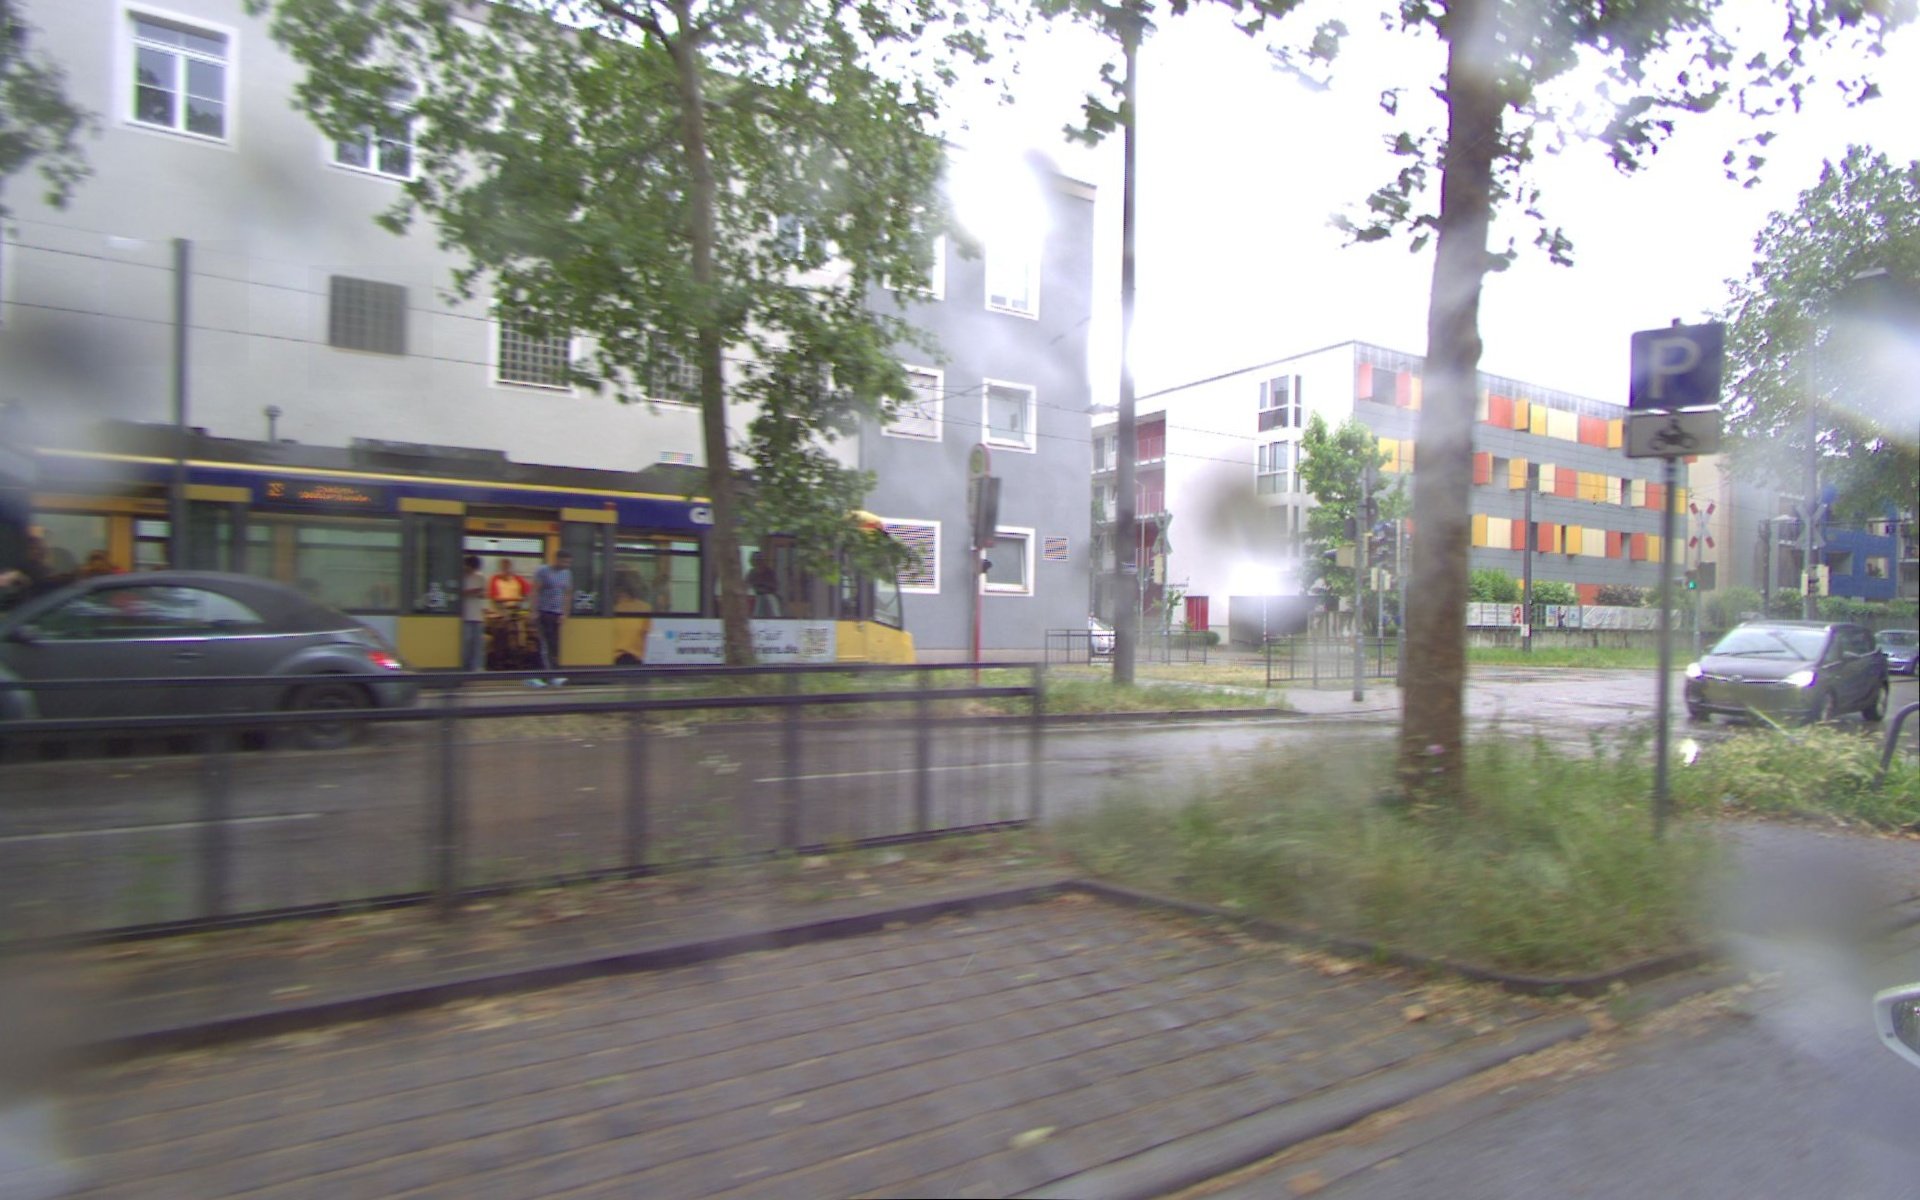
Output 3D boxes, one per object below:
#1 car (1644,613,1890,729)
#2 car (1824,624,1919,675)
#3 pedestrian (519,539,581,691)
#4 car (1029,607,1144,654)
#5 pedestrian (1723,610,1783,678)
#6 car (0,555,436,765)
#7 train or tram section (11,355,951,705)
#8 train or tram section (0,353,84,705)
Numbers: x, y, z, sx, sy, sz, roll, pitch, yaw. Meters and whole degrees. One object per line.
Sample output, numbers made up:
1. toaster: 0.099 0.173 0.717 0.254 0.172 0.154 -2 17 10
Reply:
1. car: 13.534 1.090 16.773 4.628 1.640 2.042 1 0 -36
2. car: 30.068 1.579 32.474 4.336 1.483 1.895 1 0 -30
3. pedestrian: -5.264 0.194 12.889 0.628 1.880 0.658 1 0 -30
4. car: 4.457 1.055 35.948 1.868 1.548 4.052 1 0 -33
5. pedestrian: 21.951 1.214 27.799 1.192 1.824 0.930 2 -1 -31
6. car: -6.877 0.456 8.808 3.929 1.529 1.663 1 3 -32
7. train or tram section: -5.810 -0.581 14.814 11.420 3.690 2.885 2 0 -31
8. train or tram section: -15.607 -0.944 8.863 11.420 3.690 2.885 2 0 -31
